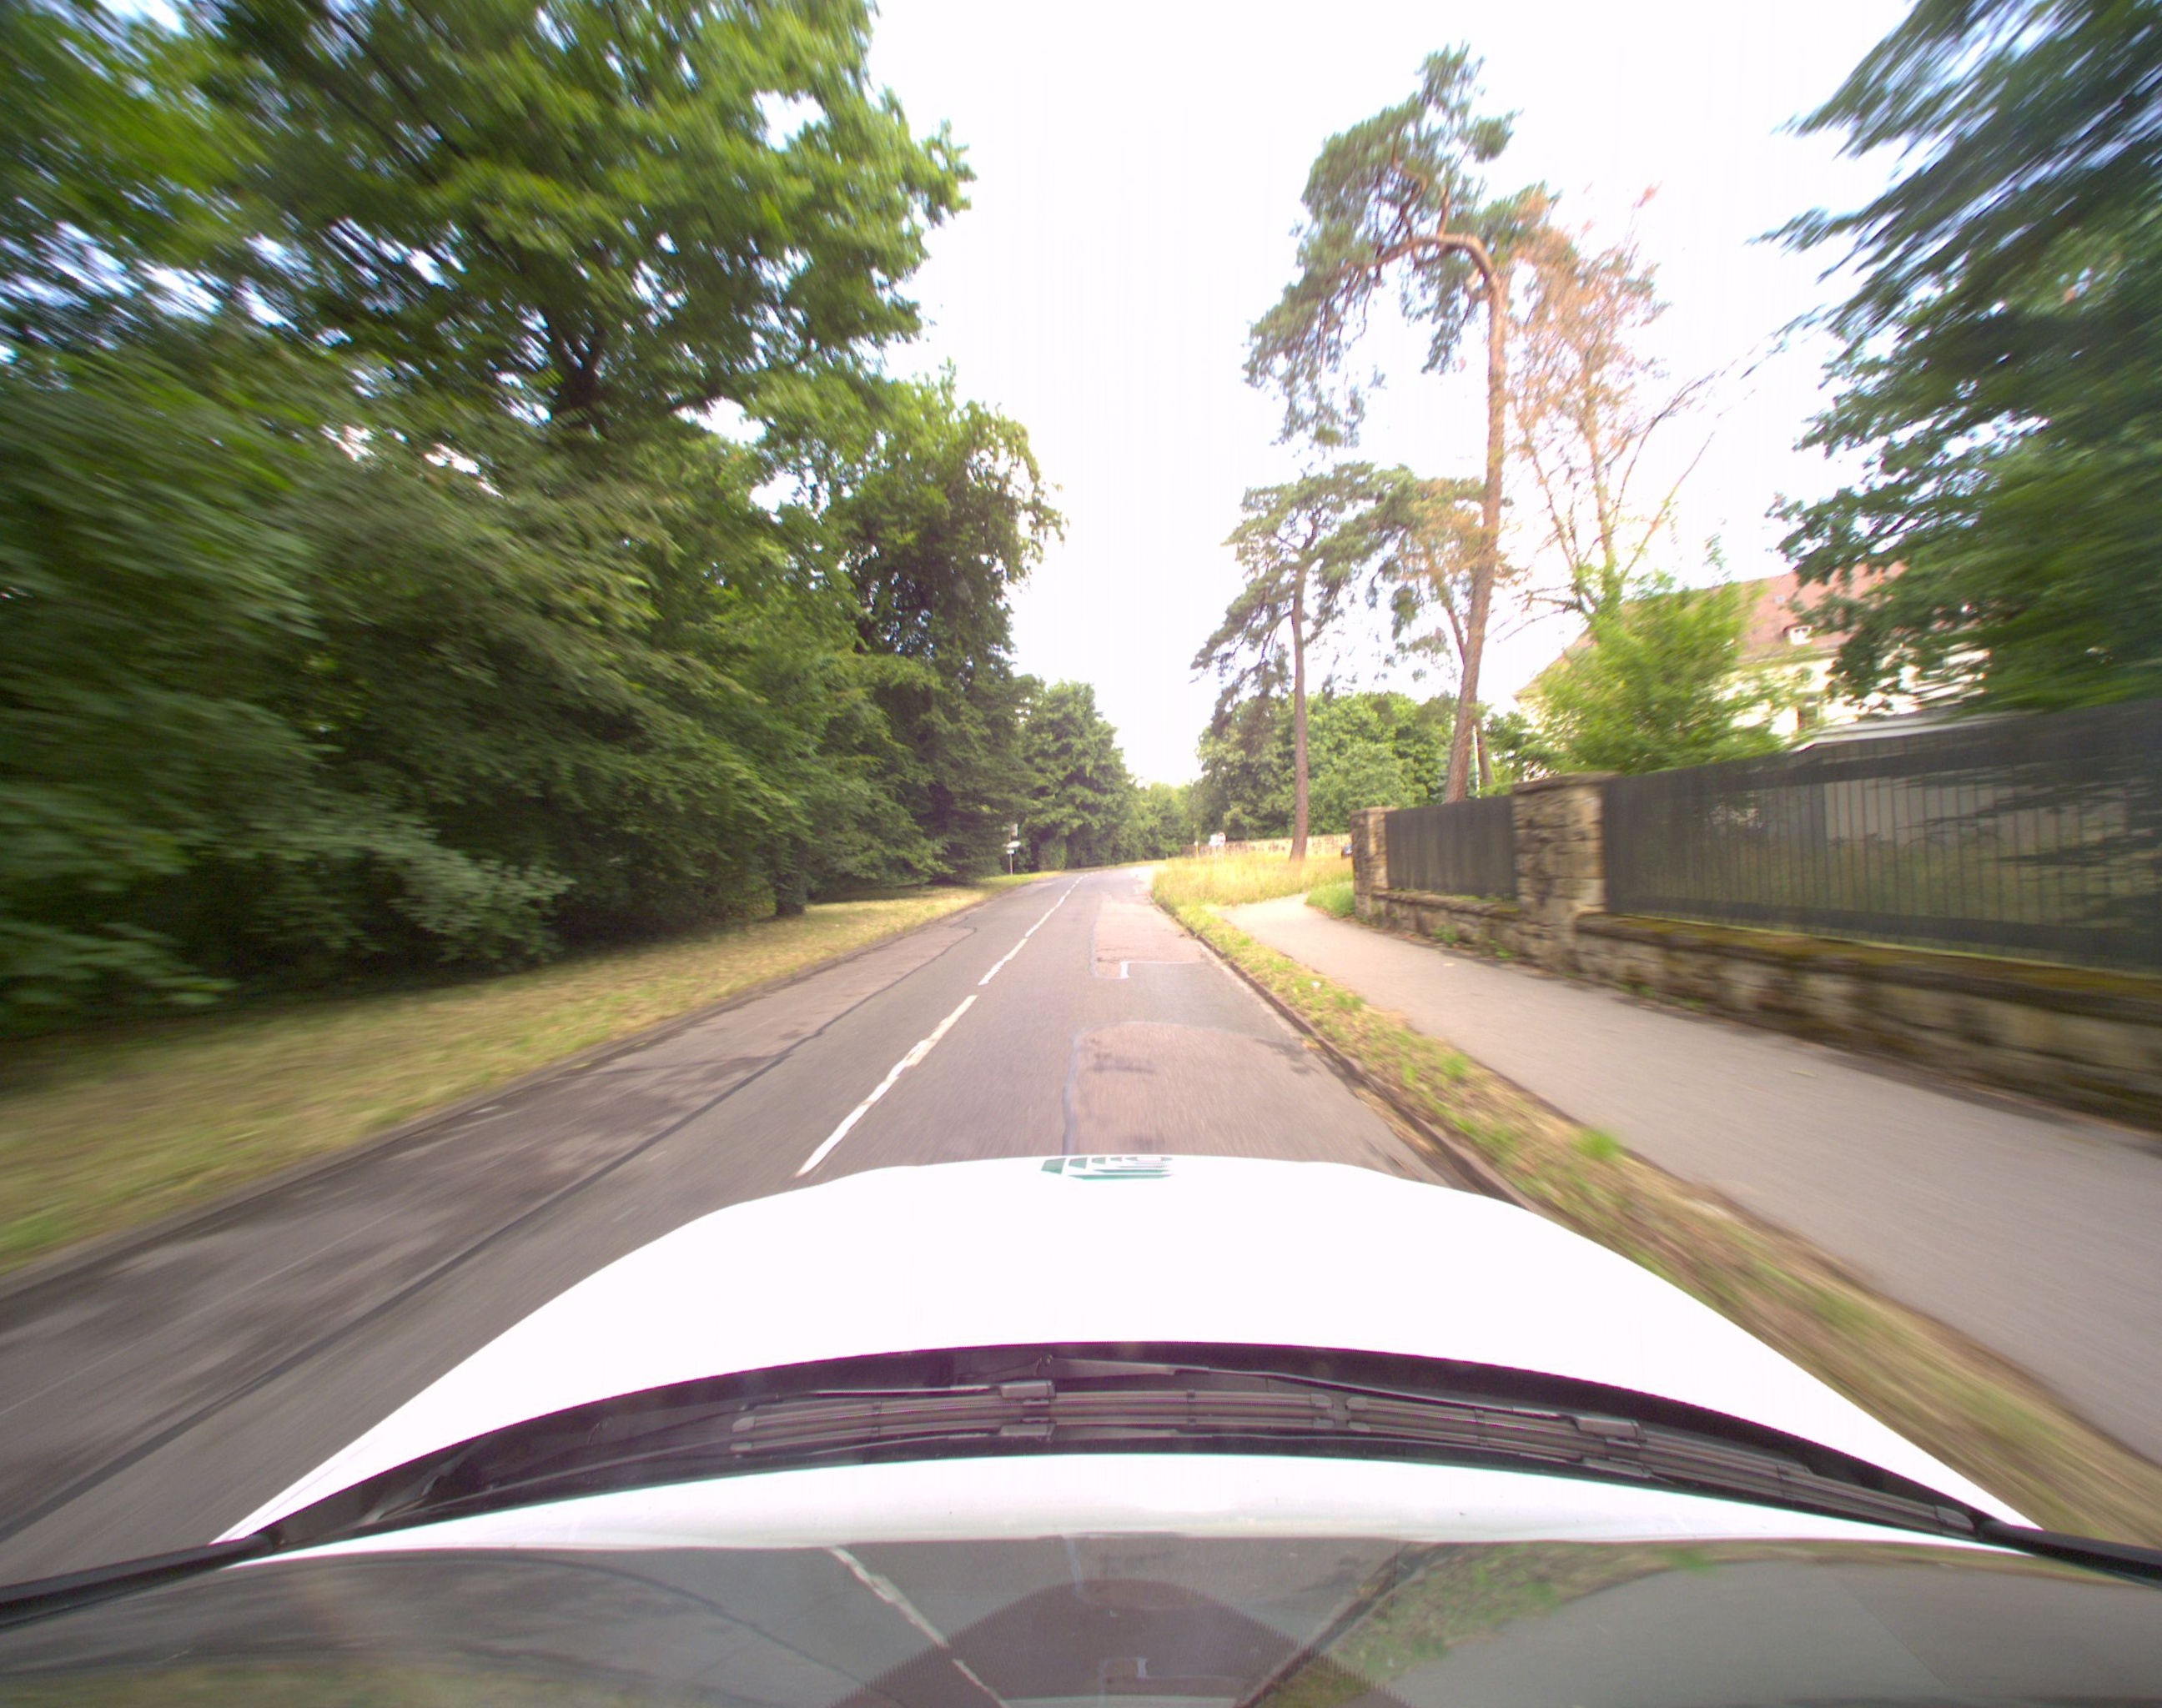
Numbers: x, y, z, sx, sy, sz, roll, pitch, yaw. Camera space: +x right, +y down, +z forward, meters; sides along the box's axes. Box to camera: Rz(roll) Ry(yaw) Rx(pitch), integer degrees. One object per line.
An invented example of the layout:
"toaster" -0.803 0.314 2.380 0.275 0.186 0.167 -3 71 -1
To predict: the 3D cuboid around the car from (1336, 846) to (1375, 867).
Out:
"car" 23.067 0.196 68.359 1.855 1.441 4.026 -4 0 38
